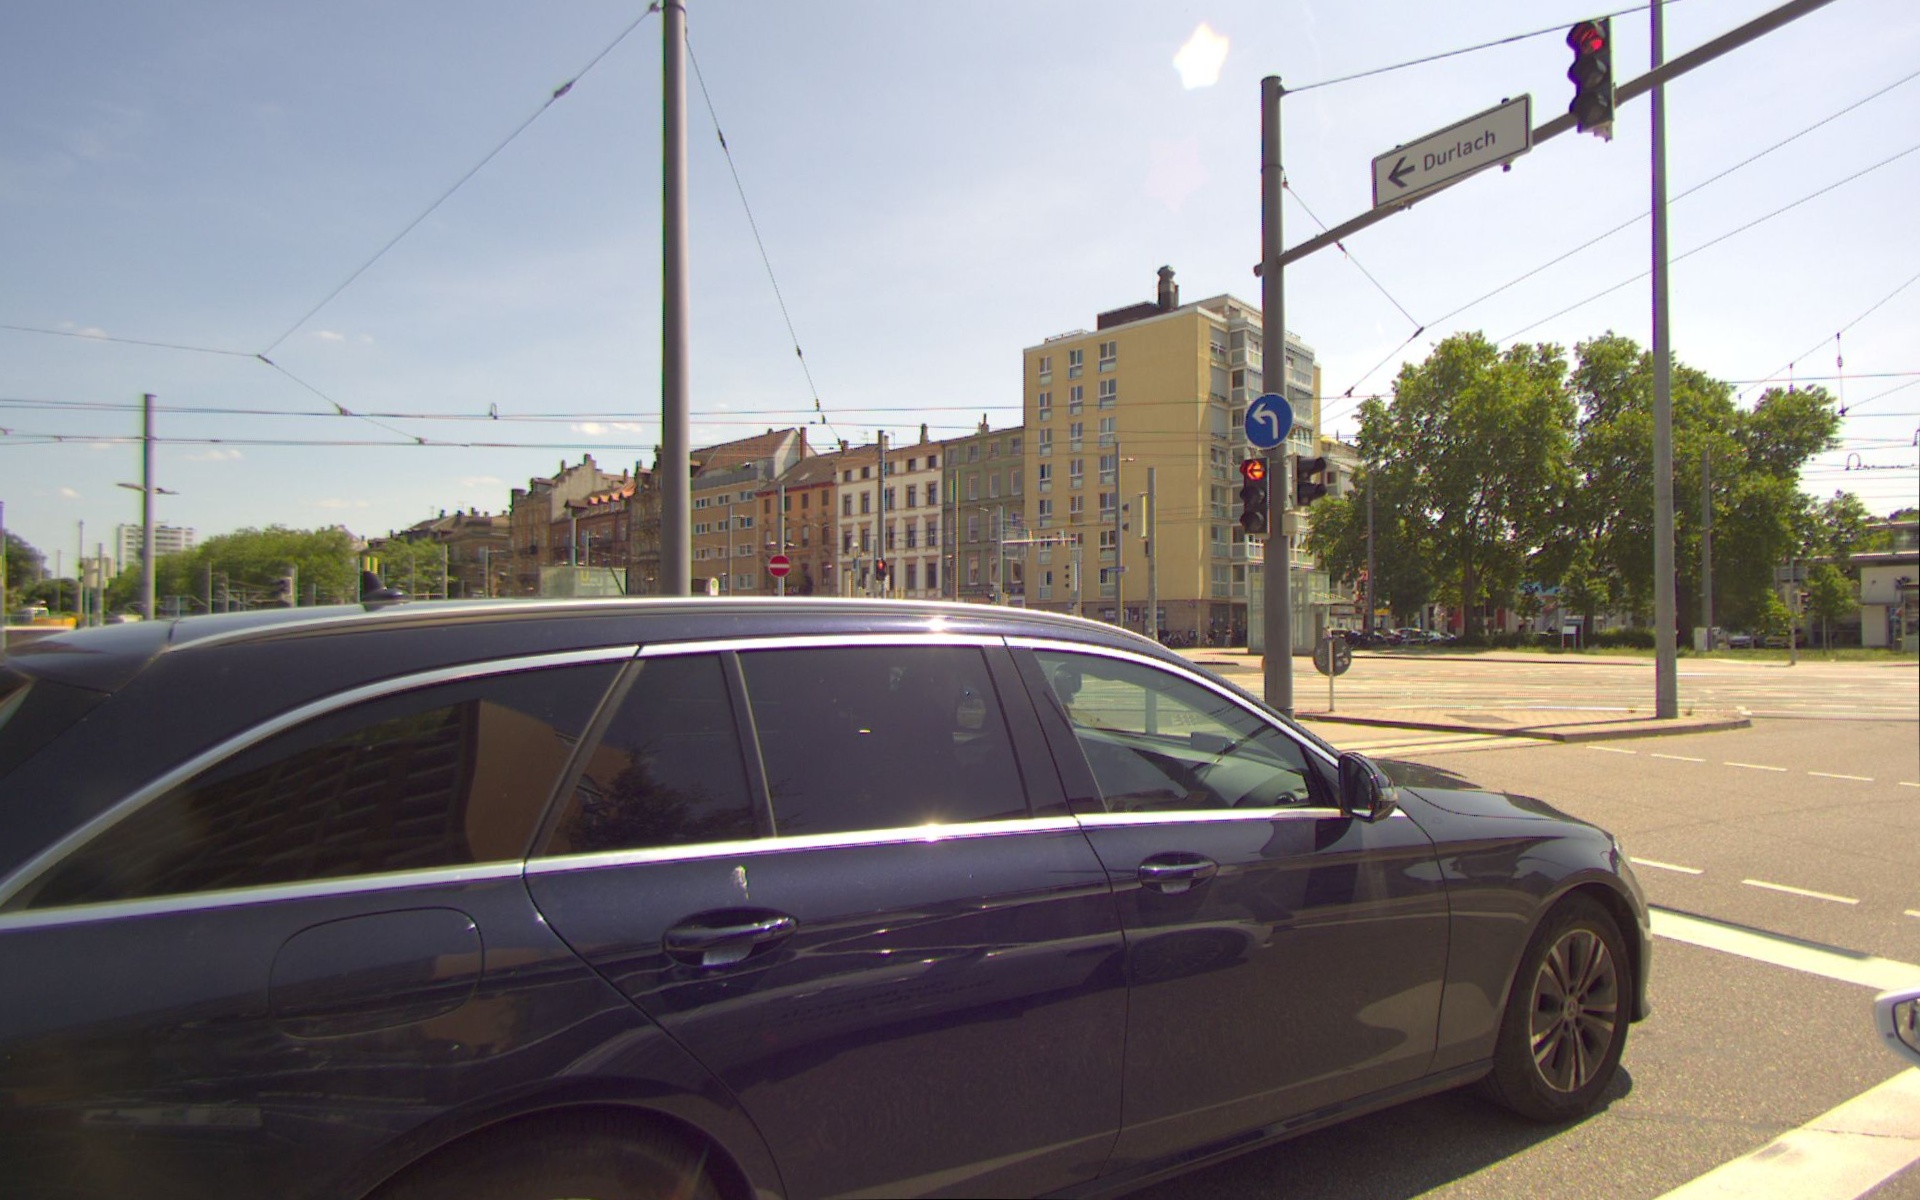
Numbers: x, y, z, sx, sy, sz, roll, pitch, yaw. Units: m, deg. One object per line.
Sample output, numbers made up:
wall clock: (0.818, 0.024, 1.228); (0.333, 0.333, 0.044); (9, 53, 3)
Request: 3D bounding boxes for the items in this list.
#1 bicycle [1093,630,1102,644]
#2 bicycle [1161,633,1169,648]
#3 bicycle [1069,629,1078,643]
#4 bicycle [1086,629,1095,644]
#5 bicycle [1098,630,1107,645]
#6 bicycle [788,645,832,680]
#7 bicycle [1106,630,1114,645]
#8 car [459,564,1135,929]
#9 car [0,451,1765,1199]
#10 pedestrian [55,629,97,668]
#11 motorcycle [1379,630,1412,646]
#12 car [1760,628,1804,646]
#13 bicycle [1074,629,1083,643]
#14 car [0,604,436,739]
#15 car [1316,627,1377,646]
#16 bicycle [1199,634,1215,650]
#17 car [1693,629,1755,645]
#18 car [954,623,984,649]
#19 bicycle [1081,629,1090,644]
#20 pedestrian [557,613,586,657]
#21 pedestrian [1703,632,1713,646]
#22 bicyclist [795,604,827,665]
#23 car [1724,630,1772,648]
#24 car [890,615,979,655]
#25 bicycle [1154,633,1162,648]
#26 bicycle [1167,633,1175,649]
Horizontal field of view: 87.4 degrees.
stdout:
bicycle: (9.970, 2.678, 72.996); (0.424, 1.040, 1.445); (0, -1, 16)
bicycle: (14.033, 2.783, 68.853); (0.424, 1.040, 1.445); (0, -1, 16)
bicycle: (8.397, 2.636, 74.376); (0.424, 1.040, 1.445); (0, -1, 16)
bicycle: (9.528, 2.666, 73.292); (0.424, 1.040, 1.445); (0, -1, 16)
bicycle: (10.286, 2.686, 72.598); (0.424, 1.040, 1.445); (0, -1, 16)
bicycle: (-3.944, 1.618, 26.339); (0.620, 0.866, 1.887); (1, -2, -26)
bicycle: (10.803, 2.701, 72.339); (0.424, 1.040, 1.445); (0, -1, 16)
car: (-0.931, 0.687, 6.086); (3.692, 1.597, 1.736); (1, -2, -30)
car: (0.149, 0.687, 2.913); (4.747, 1.662, 1.789); (1, 0, -30)
pedestrian: (-30.940, 1.676, 35.165); (0.978, 1.352, 0.527); (0, -1, 2)
motorcycle: (27.591, 2.384, 63.643); (1.887, 0.974, 0.524); (-1, -1, 31)
car: (69.176, 3.105, 84.504); (4.283, 1.530, 1.756); (1, -2, -35)
bicycle: (8.740, 2.645, 74.037); (0.424, 1.040, 1.445); (0, -1, 16)
car: (-9.368, 0.827, 12.533); (4.773, 1.484, 1.991); (1, -2, -21)
car: (29.387, 2.750, 76.342); (3.938, 1.439, 1.992); (-1, -2, 39)
bicycle: (16.816, 2.870, 68.319); (0.427, 1.040, 1.435); (-1, -2, 44)
car: (71.018, 3.433, 93.438); (4.245, 1.530, 1.771); (-1, -2, 26)
car: (0.586, 2.527, 70.533); (1.803, 1.773, 3.998); (0, -1, -4)
bicycle: (9.167, 2.656, 73.600); (0.424, 1.040, 1.445); (0, -1, 16)
pedestrian: (-16.559, 1.497, 42.783); (1.114, 1.837, 0.677); (-1, -2, 38)
pedestrian: (64.590, 3.399, 86.738); (0.439, 1.220, 0.511); (1, -1, -24)
bicyclist: (-3.934, 0.892, 26.461); (0.433, 1.549, 1.245); (2, 0, -26)
car: (68.302, 3.346, 87.025); (4.274, 1.530, 1.759); (1, -2, -29)
car: (-1.401, 1.869, 54.065); (4.804, 2.084, 1.989); (-1, -2, 43)
bicycle: (13.658, 2.773, 69.164); (0.424, 1.040, 1.445); (0, -1, 16)
bicycle: (14.402, 2.794, 68.588); (0.424, 1.040, 1.445); (0, -1, 16)
